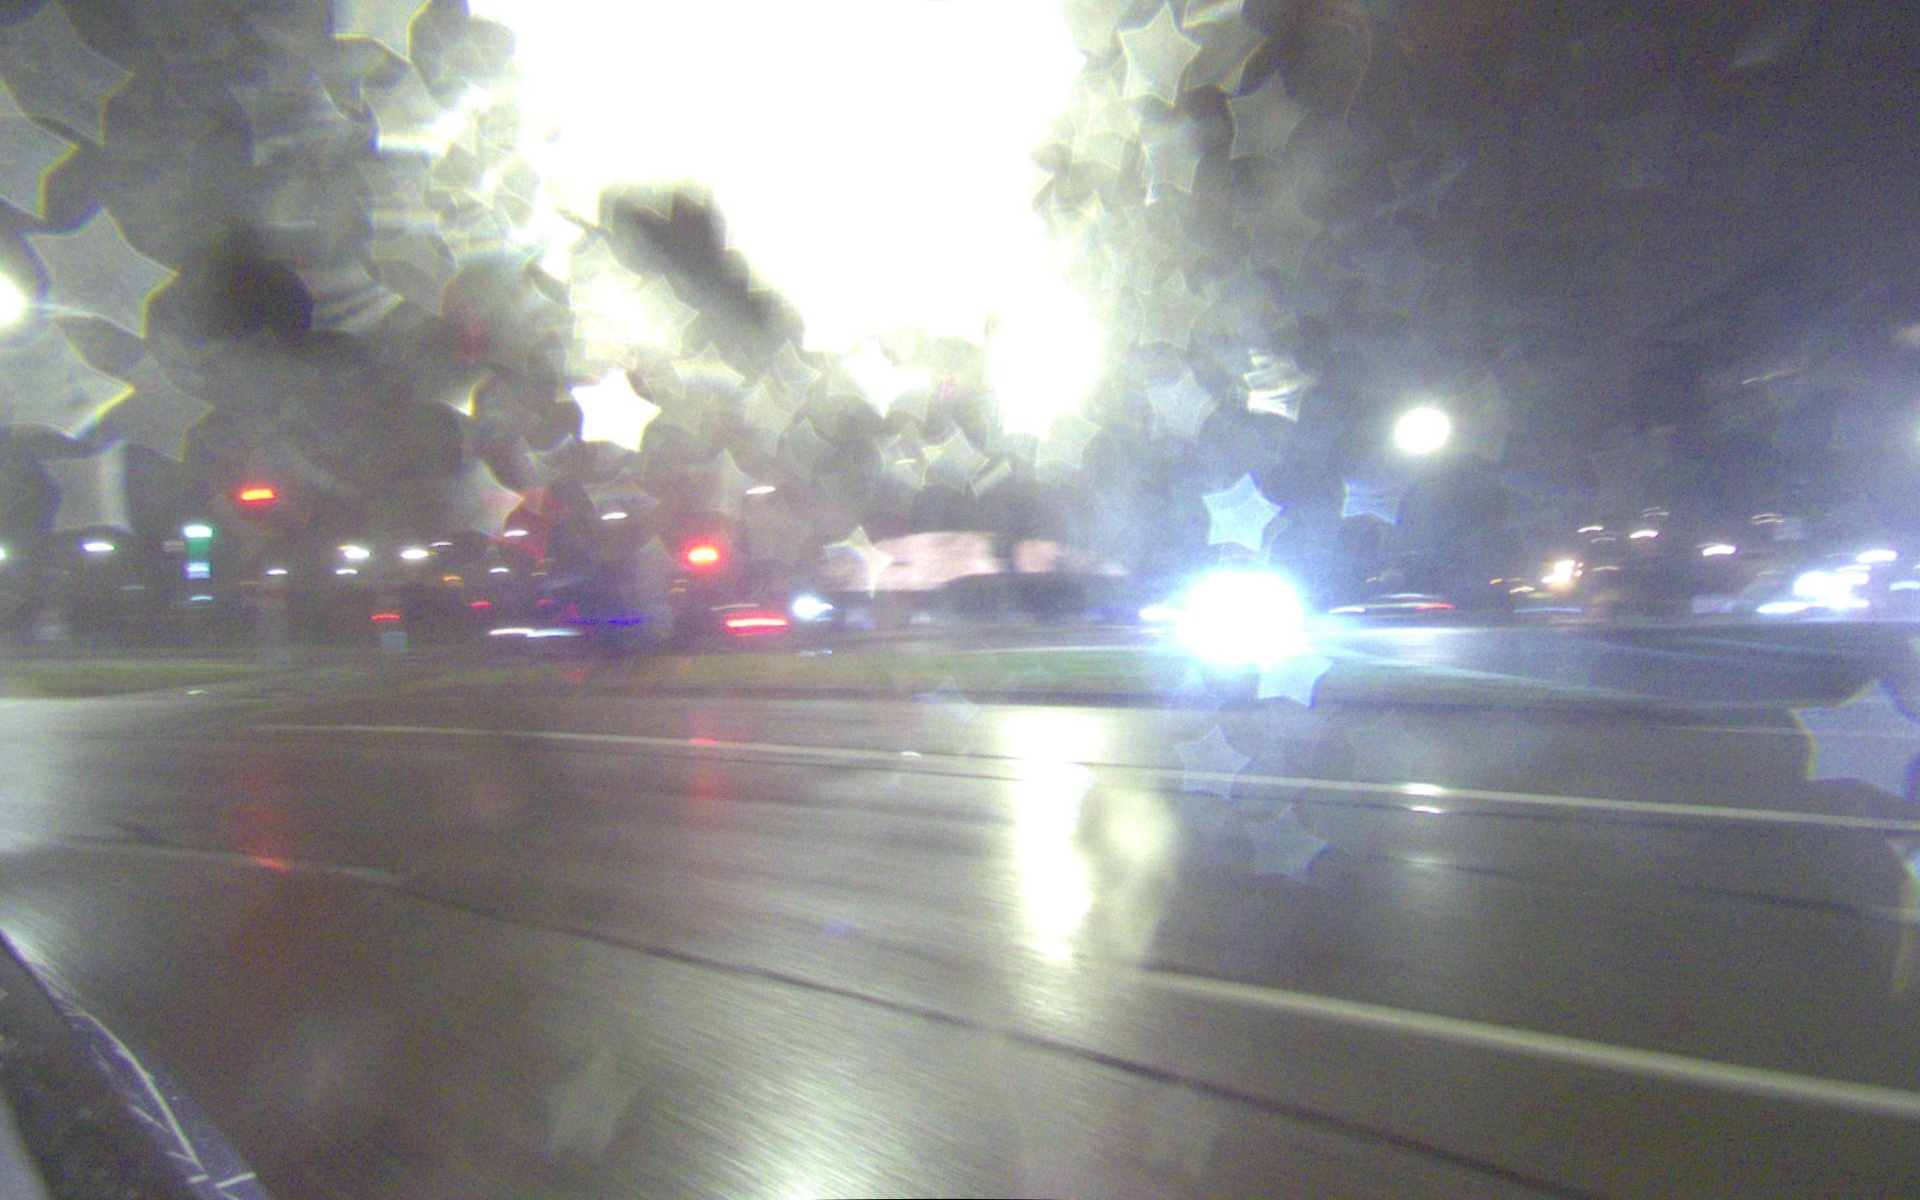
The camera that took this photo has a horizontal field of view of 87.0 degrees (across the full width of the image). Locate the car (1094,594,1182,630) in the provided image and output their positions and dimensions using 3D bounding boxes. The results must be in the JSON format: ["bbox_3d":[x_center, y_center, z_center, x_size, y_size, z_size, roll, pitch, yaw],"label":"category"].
[{"bbox_3d":[8.625,0.557,49.240,1.733,1.585,4.004,-2,2,-43],"label":"car"}]

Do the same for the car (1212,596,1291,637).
[{"bbox_3d":[11.229,0.581,38.846,1.826,1.383,3.902,1,2,34],"label":"car"}]

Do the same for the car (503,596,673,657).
[{"bbox_3d":[-10.405,0.698,28.607,4.341,1.552,2.006,-1,2,-16],"label":"car"}]

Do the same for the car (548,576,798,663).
[{"bbox_3d":[-6.161,0.367,22.263,5.047,1.745,2.068,-1,1,-11],"label":"car"}]

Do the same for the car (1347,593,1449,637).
[{"bbox_3d":[21.536,0.698,49.769,4.406,2.028,1.979,1,2,31],"label":"car"}]
